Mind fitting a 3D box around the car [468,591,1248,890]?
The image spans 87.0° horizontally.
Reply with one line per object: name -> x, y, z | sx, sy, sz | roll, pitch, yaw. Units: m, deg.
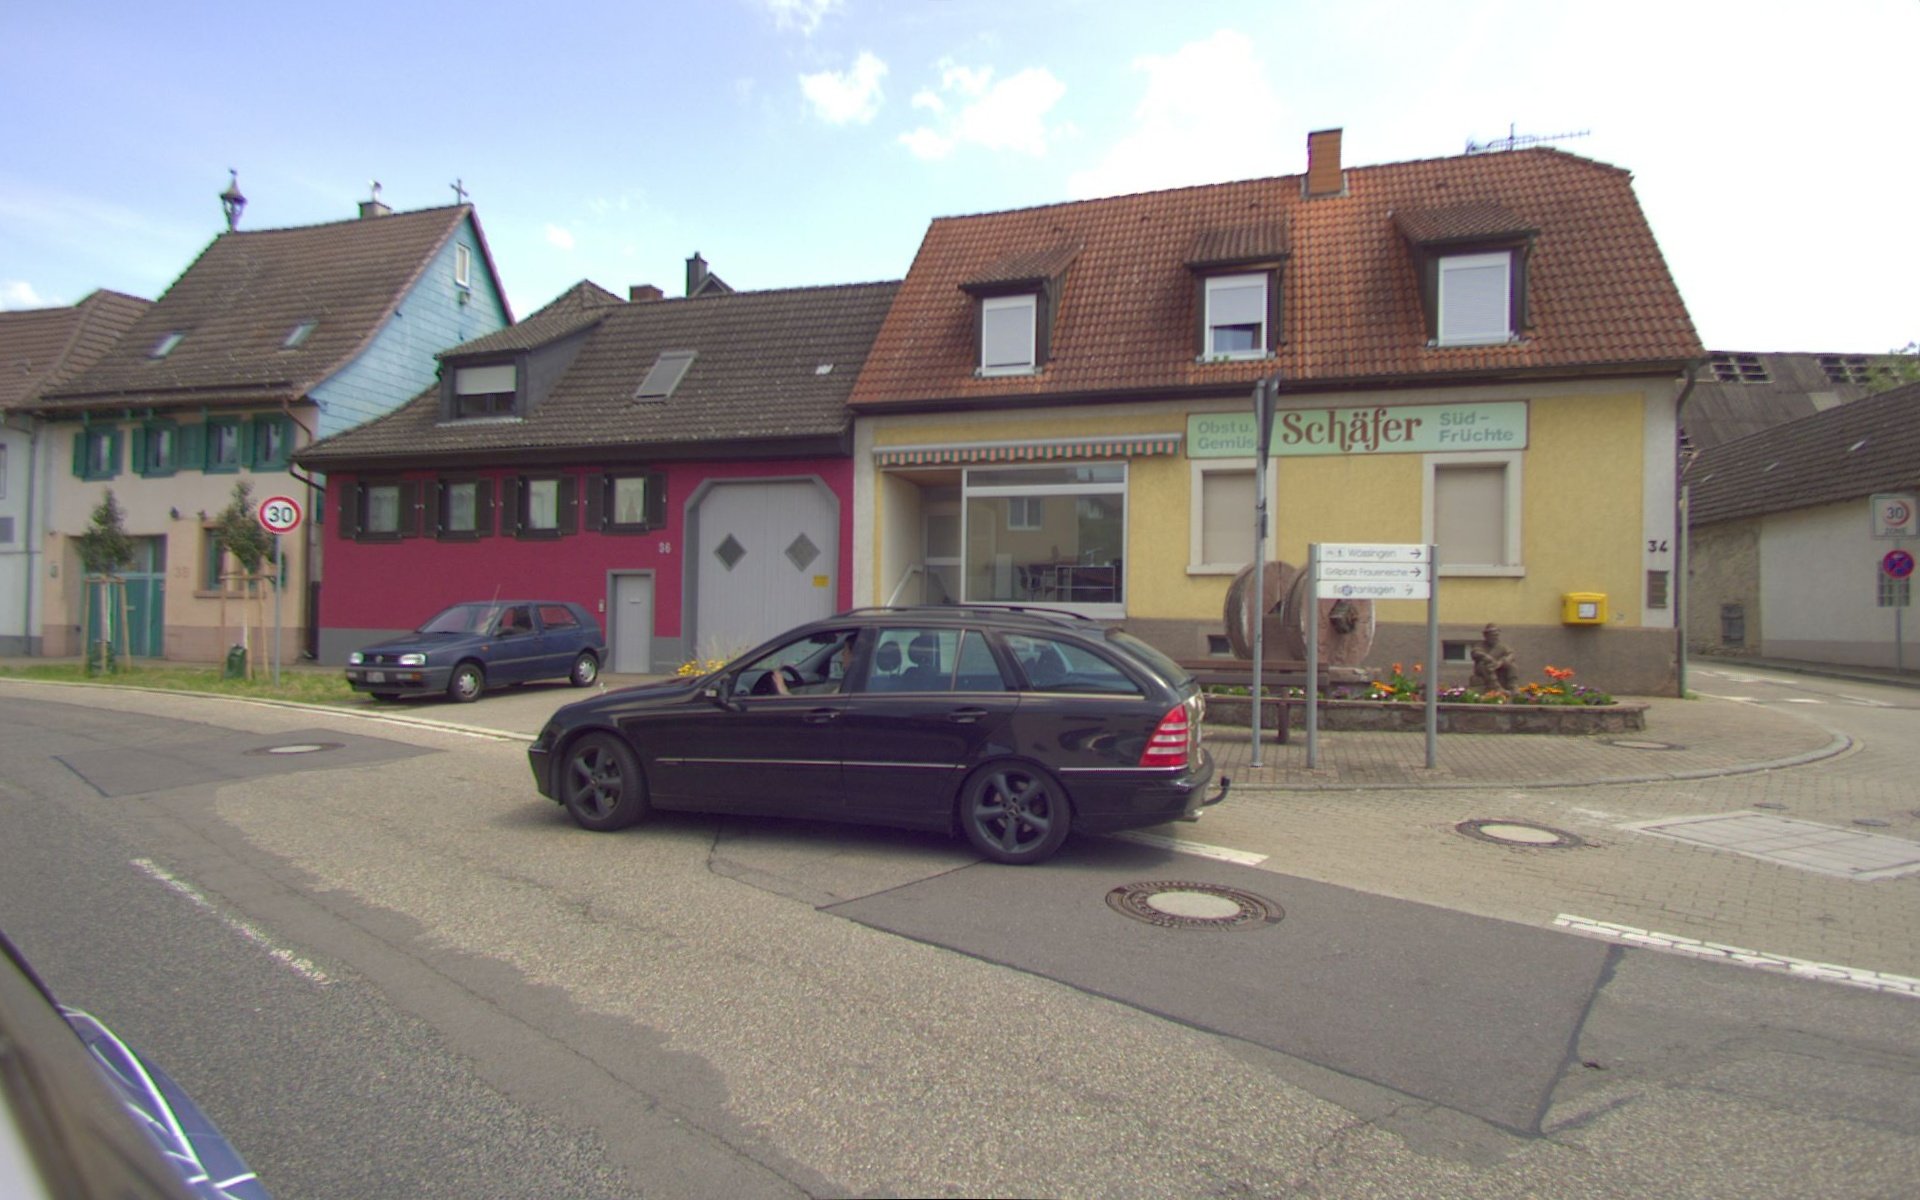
car -> -0.586, 0.706, 6.566 | 4.590, 1.422, 1.806 | 1, 0, 13

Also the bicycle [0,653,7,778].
bicycle -> -8.893, 0.964, 8.381 | 1.916, 1.019, 0.925 | -1, -1, 29

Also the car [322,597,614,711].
car -> -7.242, 0.697, 15.357 | 1.708, 1.475, 3.954 | 0, 0, 19
